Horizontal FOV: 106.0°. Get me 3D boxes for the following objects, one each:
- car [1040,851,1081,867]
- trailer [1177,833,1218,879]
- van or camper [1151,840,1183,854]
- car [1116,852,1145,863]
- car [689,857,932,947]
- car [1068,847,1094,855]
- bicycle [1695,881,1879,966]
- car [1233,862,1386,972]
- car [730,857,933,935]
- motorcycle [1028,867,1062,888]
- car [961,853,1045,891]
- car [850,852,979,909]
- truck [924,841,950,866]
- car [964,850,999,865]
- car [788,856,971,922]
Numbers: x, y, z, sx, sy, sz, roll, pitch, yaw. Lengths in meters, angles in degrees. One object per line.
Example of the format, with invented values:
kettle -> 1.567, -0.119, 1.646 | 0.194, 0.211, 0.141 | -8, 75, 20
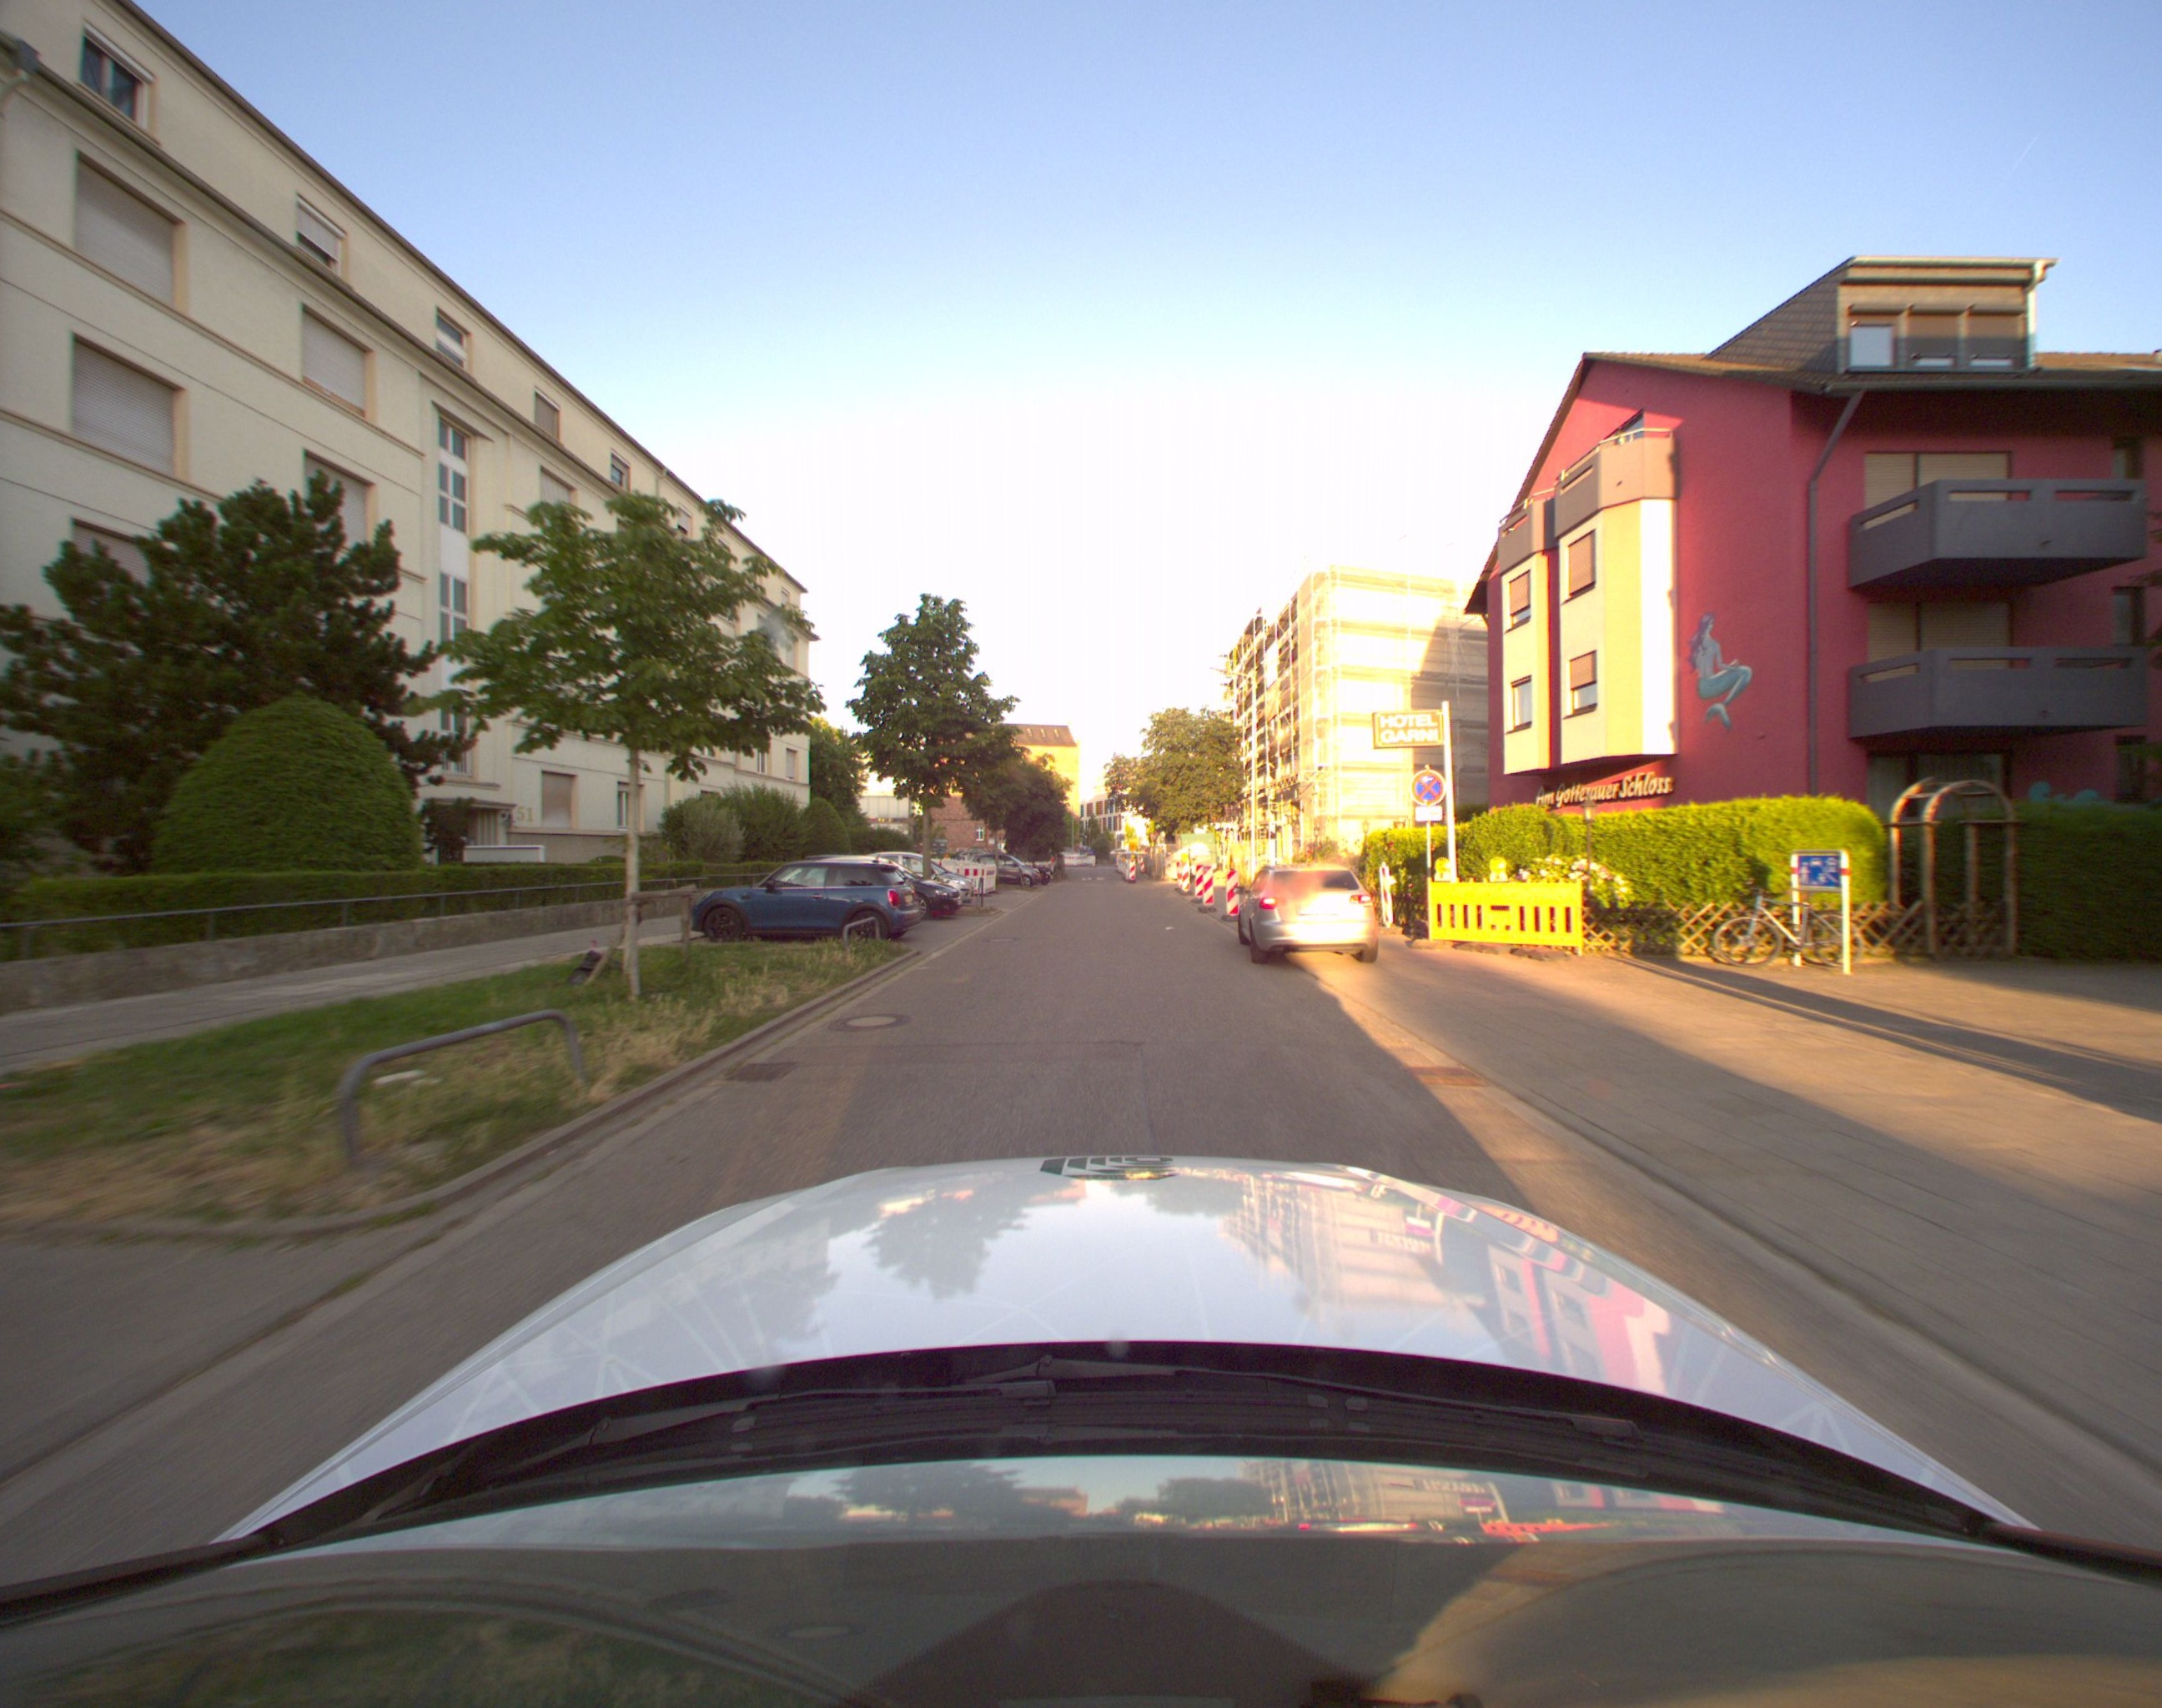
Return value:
car -> -2.325, 0.523, 90.546 | 4.280, 1.708, 1.693 | -1, 0, -18
trailer -> 6.713, 0.104, 47.331 | 1.985, 2.539, 4.189 | 0, 0, 2
van or camper -> 14.088, -1.196, 133.359 | 4.978, 2.240, 1.676 | 0, 0, -20
car -> 7.164, 0.527, 117.706 | 3.752, 1.603, 1.676 | -1, 0, -20
car -> -4.677, 0.812, 14.450 | 3.661, 1.445, 1.729 | 1, -1, 3
car -> 0.013, -0.479, 136.647 | 3.997, 1.313, 1.867 | -1, 0, -17
bicycle -> 9.259, 0.903, 10.723 | 1.883, 1.069, 0.447 | -1, 0, 8
car -> 3.404, 0.849, 12.853 | 1.766, 1.397, 4.116 | 0, 0, 7
car -> -5.165, 0.853, 17.191 | 3.661, 1.484, 1.729 | 1, -1, 3
motorcycle -> -1.812, 1.181, 41.419 | 0.532, 1.021, 2.225 | 2, 0, 31
car -> -3.588, 0.814, 37.957 | 3.610, 1.557, 1.693 | 3, 0, 1
car -> -4.882, 0.780, 24.297 | 3.465, 1.566, 1.727 | 1, -1, -2
truck -> -15.667, -0.065, 88.550 | 2.338, 2.616, 4.947 | 0, 0, -15
car -> -10.781, 0.382, 88.400 | 3.637, 1.503, 1.629 | -1, 0, -15
car -> -4.848, 0.831, 19.922 | 3.960, 1.489, 1.729 | 1, -1, 3
